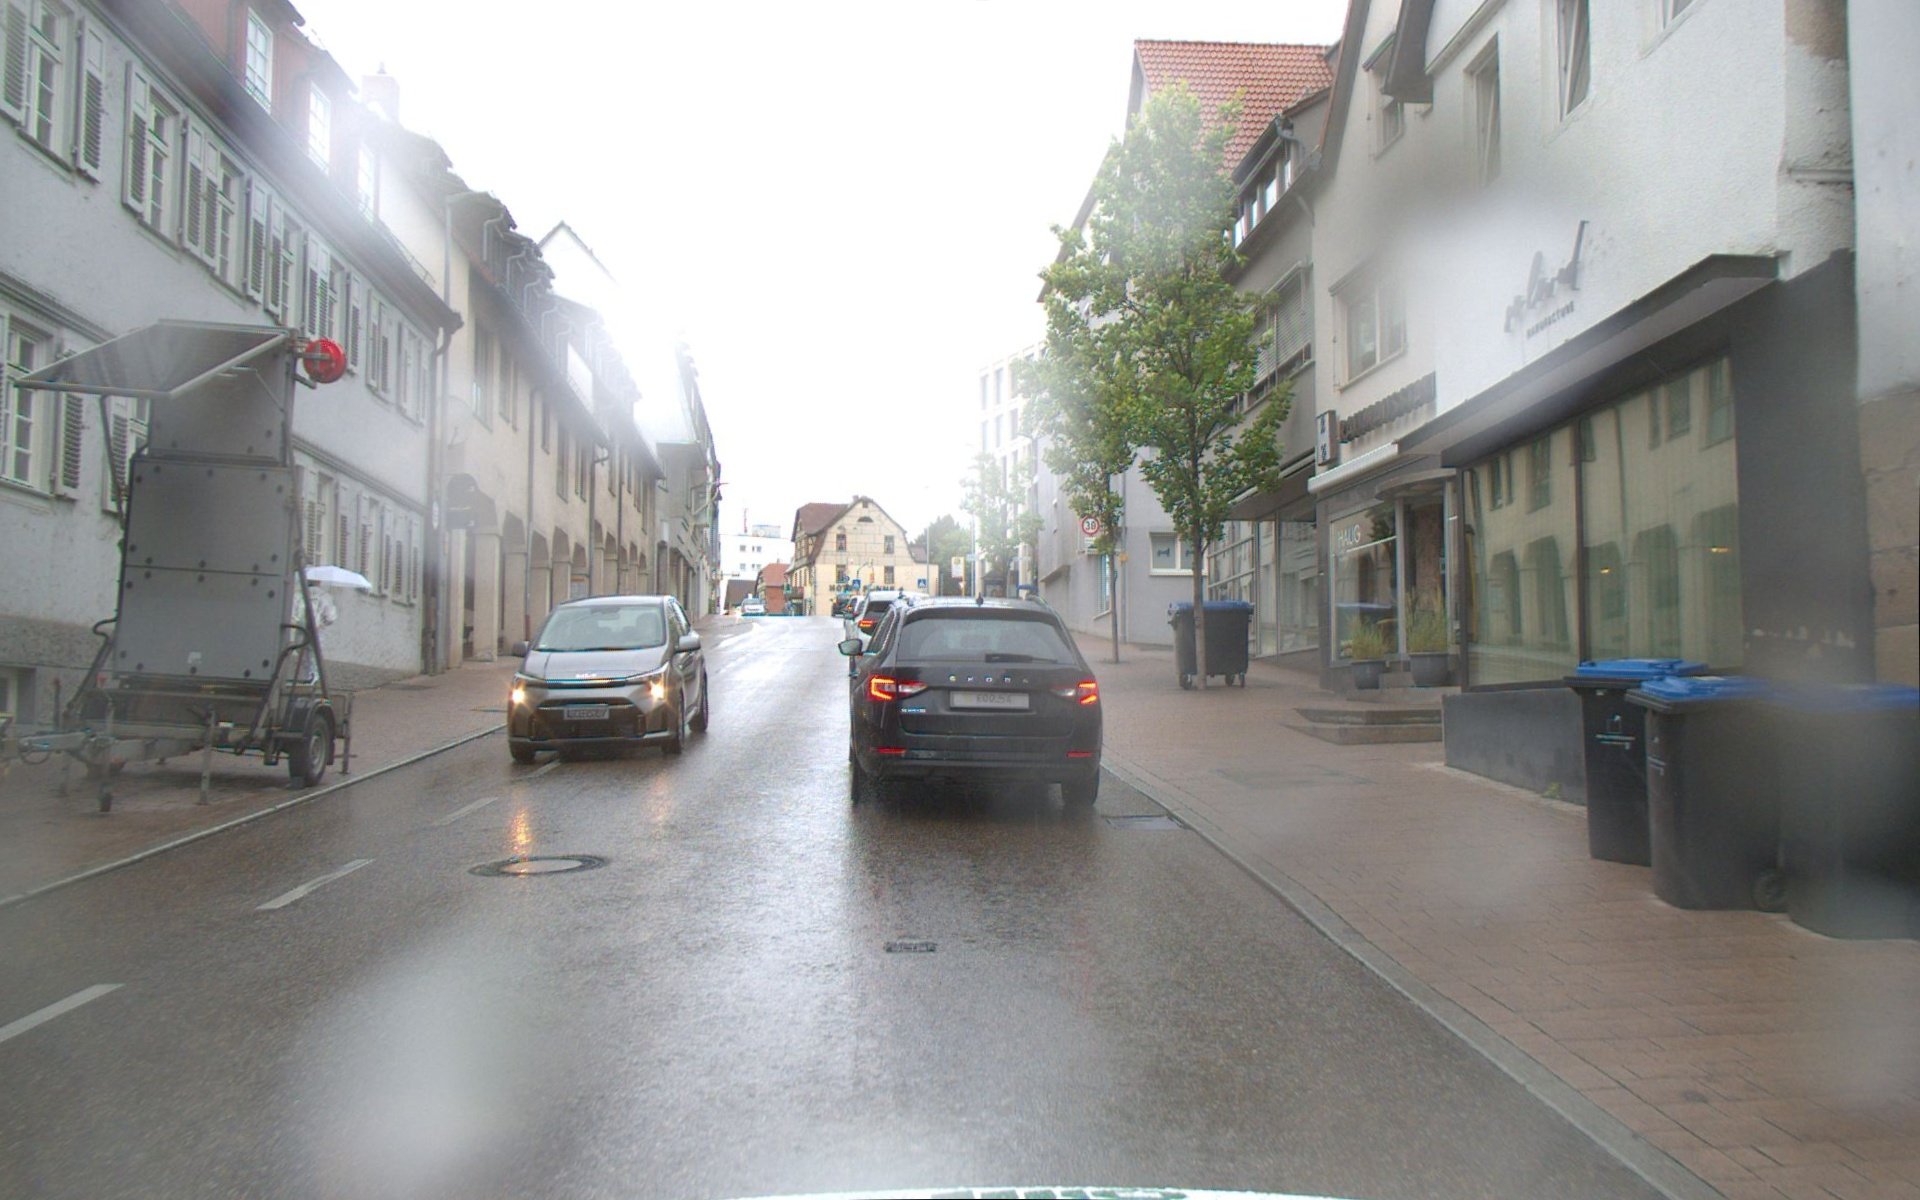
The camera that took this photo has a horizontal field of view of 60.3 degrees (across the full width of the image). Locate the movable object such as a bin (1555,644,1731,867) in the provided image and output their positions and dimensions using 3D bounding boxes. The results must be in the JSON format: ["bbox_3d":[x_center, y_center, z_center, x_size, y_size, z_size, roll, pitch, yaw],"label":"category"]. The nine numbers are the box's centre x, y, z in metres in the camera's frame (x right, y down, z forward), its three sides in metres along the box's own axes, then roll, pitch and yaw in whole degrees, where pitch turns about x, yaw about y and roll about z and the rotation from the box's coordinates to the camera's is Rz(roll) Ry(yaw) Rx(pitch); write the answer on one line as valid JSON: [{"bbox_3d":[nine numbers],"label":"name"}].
[{"bbox_3d":[3.670,0.818,8.923,0.646,1.080,0.614,-4,2,-1],"label":"movable object such as a bin"}]

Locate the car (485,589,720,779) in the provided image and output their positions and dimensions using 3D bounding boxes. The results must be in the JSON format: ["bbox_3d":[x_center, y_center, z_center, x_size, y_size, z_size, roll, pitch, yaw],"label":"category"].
[{"bbox_3d":[-3.369,0.715,16.238,1.739,1.560,3.707,-2,1,-5],"label":"car"}]

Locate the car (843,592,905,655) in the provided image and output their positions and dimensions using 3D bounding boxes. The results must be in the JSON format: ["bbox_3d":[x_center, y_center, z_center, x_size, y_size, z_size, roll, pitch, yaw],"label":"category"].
[{"bbox_3d":[-2.474,0.701,46.883,1.596,1.557,3.994,0,-4,-6],"label":"car"}]

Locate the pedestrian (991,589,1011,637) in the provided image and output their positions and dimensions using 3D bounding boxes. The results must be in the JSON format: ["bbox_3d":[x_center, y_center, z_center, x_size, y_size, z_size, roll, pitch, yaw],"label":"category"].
[{"bbox_3d":[1.513,0.471,60.831,0.690,1.755,0.832,-1,-1,-1],"label":"pedestrian"}]

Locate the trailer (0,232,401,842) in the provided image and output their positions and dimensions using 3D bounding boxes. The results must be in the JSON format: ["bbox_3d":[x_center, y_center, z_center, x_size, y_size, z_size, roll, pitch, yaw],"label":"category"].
[{"bbox_3d":[-5.789,-0.394,12.063,1.953,3.595,4.573,1,0,-2],"label":"trailer"}]

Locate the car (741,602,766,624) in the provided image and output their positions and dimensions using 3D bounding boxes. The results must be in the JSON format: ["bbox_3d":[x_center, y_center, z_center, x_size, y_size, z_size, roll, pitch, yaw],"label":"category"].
[{"bbox_3d":[-16.371,1.011,131.140,1.956,1.680,3.993,-1,0,-7],"label":"car"}]

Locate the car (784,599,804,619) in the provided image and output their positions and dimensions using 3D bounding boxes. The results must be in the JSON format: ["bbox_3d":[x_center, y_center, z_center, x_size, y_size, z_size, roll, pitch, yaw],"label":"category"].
[{"bbox_3d":[-13.759,0.712,137.056,1.596,1.557,3.995,1,0,-6],"label":"car"}]

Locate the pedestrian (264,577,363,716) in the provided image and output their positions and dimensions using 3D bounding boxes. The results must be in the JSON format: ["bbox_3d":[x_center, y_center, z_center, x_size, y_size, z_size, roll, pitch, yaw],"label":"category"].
[{"bbox_3d":[-7.560,0.529,19.380,0.693,1.556,1.045,2,0,0],"label":"pedestrian"}]

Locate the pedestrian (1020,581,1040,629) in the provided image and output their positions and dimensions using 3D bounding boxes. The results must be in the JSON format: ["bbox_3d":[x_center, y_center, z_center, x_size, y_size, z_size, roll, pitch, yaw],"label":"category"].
[{"bbox_3d":[2.607,0.168,61.497,0.690,1.755,0.832,1,0,-1],"label":"pedestrian"}]

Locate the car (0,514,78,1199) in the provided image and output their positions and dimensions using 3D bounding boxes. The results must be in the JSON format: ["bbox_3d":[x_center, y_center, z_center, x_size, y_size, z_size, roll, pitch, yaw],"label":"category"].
[{"bbox_3d":[-3.138,0.698,1.867,1.835,1.691,4.309,-3,0,1],"label":"car"}]

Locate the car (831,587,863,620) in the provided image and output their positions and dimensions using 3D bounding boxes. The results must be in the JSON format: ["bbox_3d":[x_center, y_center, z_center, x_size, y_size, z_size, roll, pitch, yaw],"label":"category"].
[{"bbox_3d":[-7.074,0.214,103.822,1.954,2.049,3.997,0,0,-3],"label":"car"}]

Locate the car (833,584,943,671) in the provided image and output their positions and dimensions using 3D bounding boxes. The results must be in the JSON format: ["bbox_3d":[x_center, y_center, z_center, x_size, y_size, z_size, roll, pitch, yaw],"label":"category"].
[{"bbox_3d":[-1.291,0.501,31.057,1.818,1.499,4.000,-1,0,1],"label":"car"}]

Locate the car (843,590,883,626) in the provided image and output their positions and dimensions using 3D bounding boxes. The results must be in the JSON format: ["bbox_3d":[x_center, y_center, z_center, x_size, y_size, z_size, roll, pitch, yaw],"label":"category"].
[{"bbox_3d":[-4.487,0.372,76.136,1.670,1.579,3.601,1,0,-6],"label":"car"}]

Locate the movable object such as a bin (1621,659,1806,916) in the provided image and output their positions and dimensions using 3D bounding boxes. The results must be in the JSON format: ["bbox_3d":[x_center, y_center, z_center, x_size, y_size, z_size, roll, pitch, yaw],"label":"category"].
[{"bbox_3d":[3.623,0.880,7.989,0.556,1.127,0.676,-2,1,-1],"label":"movable object such as a bin"}]

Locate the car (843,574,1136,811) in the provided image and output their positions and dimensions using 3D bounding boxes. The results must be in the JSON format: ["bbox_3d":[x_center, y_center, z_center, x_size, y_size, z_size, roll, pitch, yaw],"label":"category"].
[{"bbox_3d":[0.117,0.602,12.746,1.849,1.473,4.355,-1,0,-2],"label":"car"}]

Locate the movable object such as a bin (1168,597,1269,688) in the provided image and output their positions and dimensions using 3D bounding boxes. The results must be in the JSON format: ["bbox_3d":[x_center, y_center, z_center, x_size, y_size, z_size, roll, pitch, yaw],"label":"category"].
[{"bbox_3d":[4.045,0.658,26.042,1.261,1.373,1.486,-1,-1,-4],"label":"movable object such as a bin"}]

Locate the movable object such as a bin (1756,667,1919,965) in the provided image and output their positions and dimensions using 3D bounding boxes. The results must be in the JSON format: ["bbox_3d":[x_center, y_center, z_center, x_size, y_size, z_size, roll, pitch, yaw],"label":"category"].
[{"bbox_3d":[4.010,0.935,7.354,0.612,1.226,0.605,0,2,-2],"label":"movable object such as a bin"}]
